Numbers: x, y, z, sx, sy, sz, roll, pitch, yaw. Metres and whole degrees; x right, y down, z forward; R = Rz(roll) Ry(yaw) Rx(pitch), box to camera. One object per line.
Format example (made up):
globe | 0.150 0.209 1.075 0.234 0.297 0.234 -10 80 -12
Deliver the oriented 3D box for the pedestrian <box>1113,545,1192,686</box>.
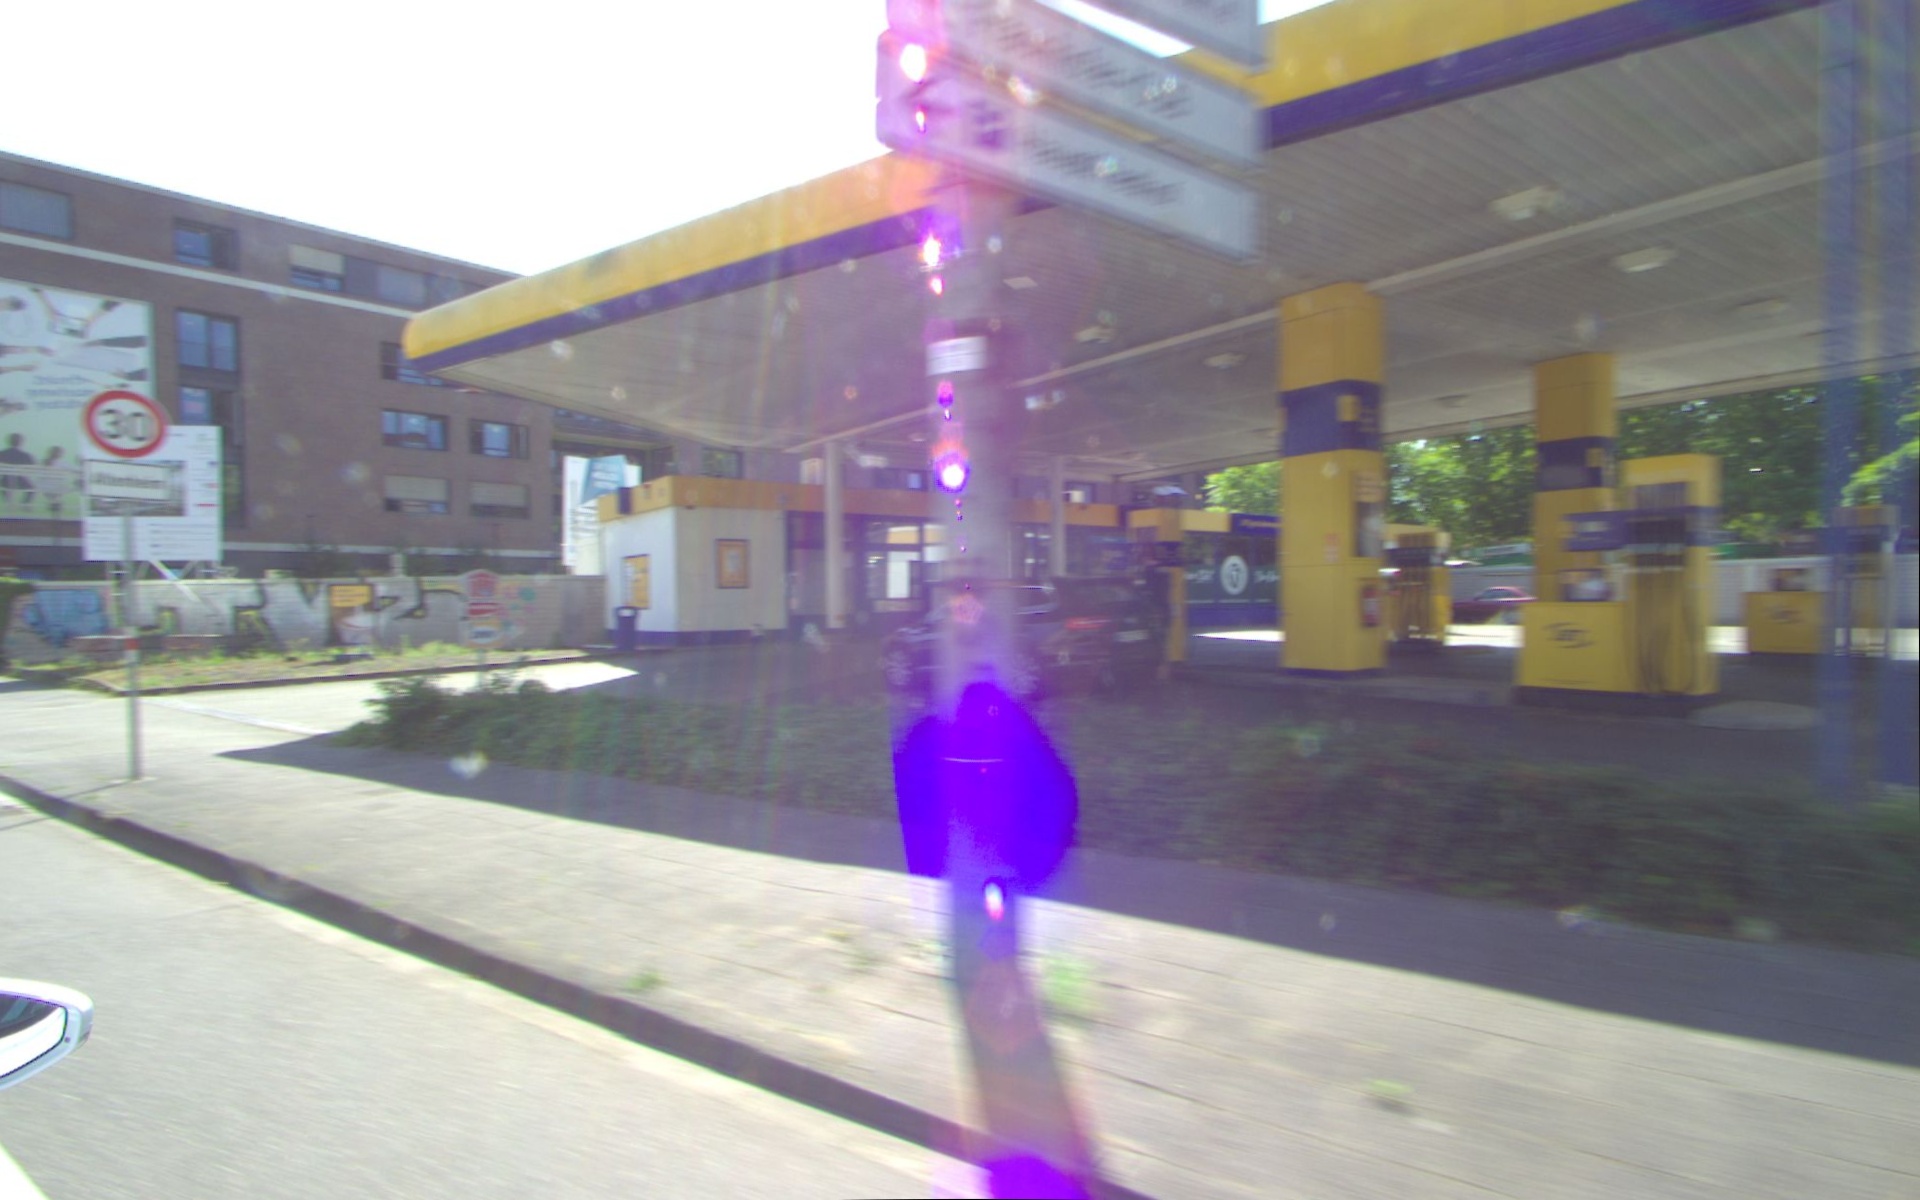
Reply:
pedestrian | 2.497 0.191 12.938 0.734 1.749 0.854 0 1 33

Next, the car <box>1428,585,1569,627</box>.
car | 19.008 0.198 35.485 1.740 1.378 4.100 -2 1 -37

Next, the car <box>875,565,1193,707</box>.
car | 0.788 0.425 13.259 1.738 1.475 4.379 -5 2 -36

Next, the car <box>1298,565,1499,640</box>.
car | 12.862 0.058 29.710 1.741 2.009 5.263 -2 1 -39
